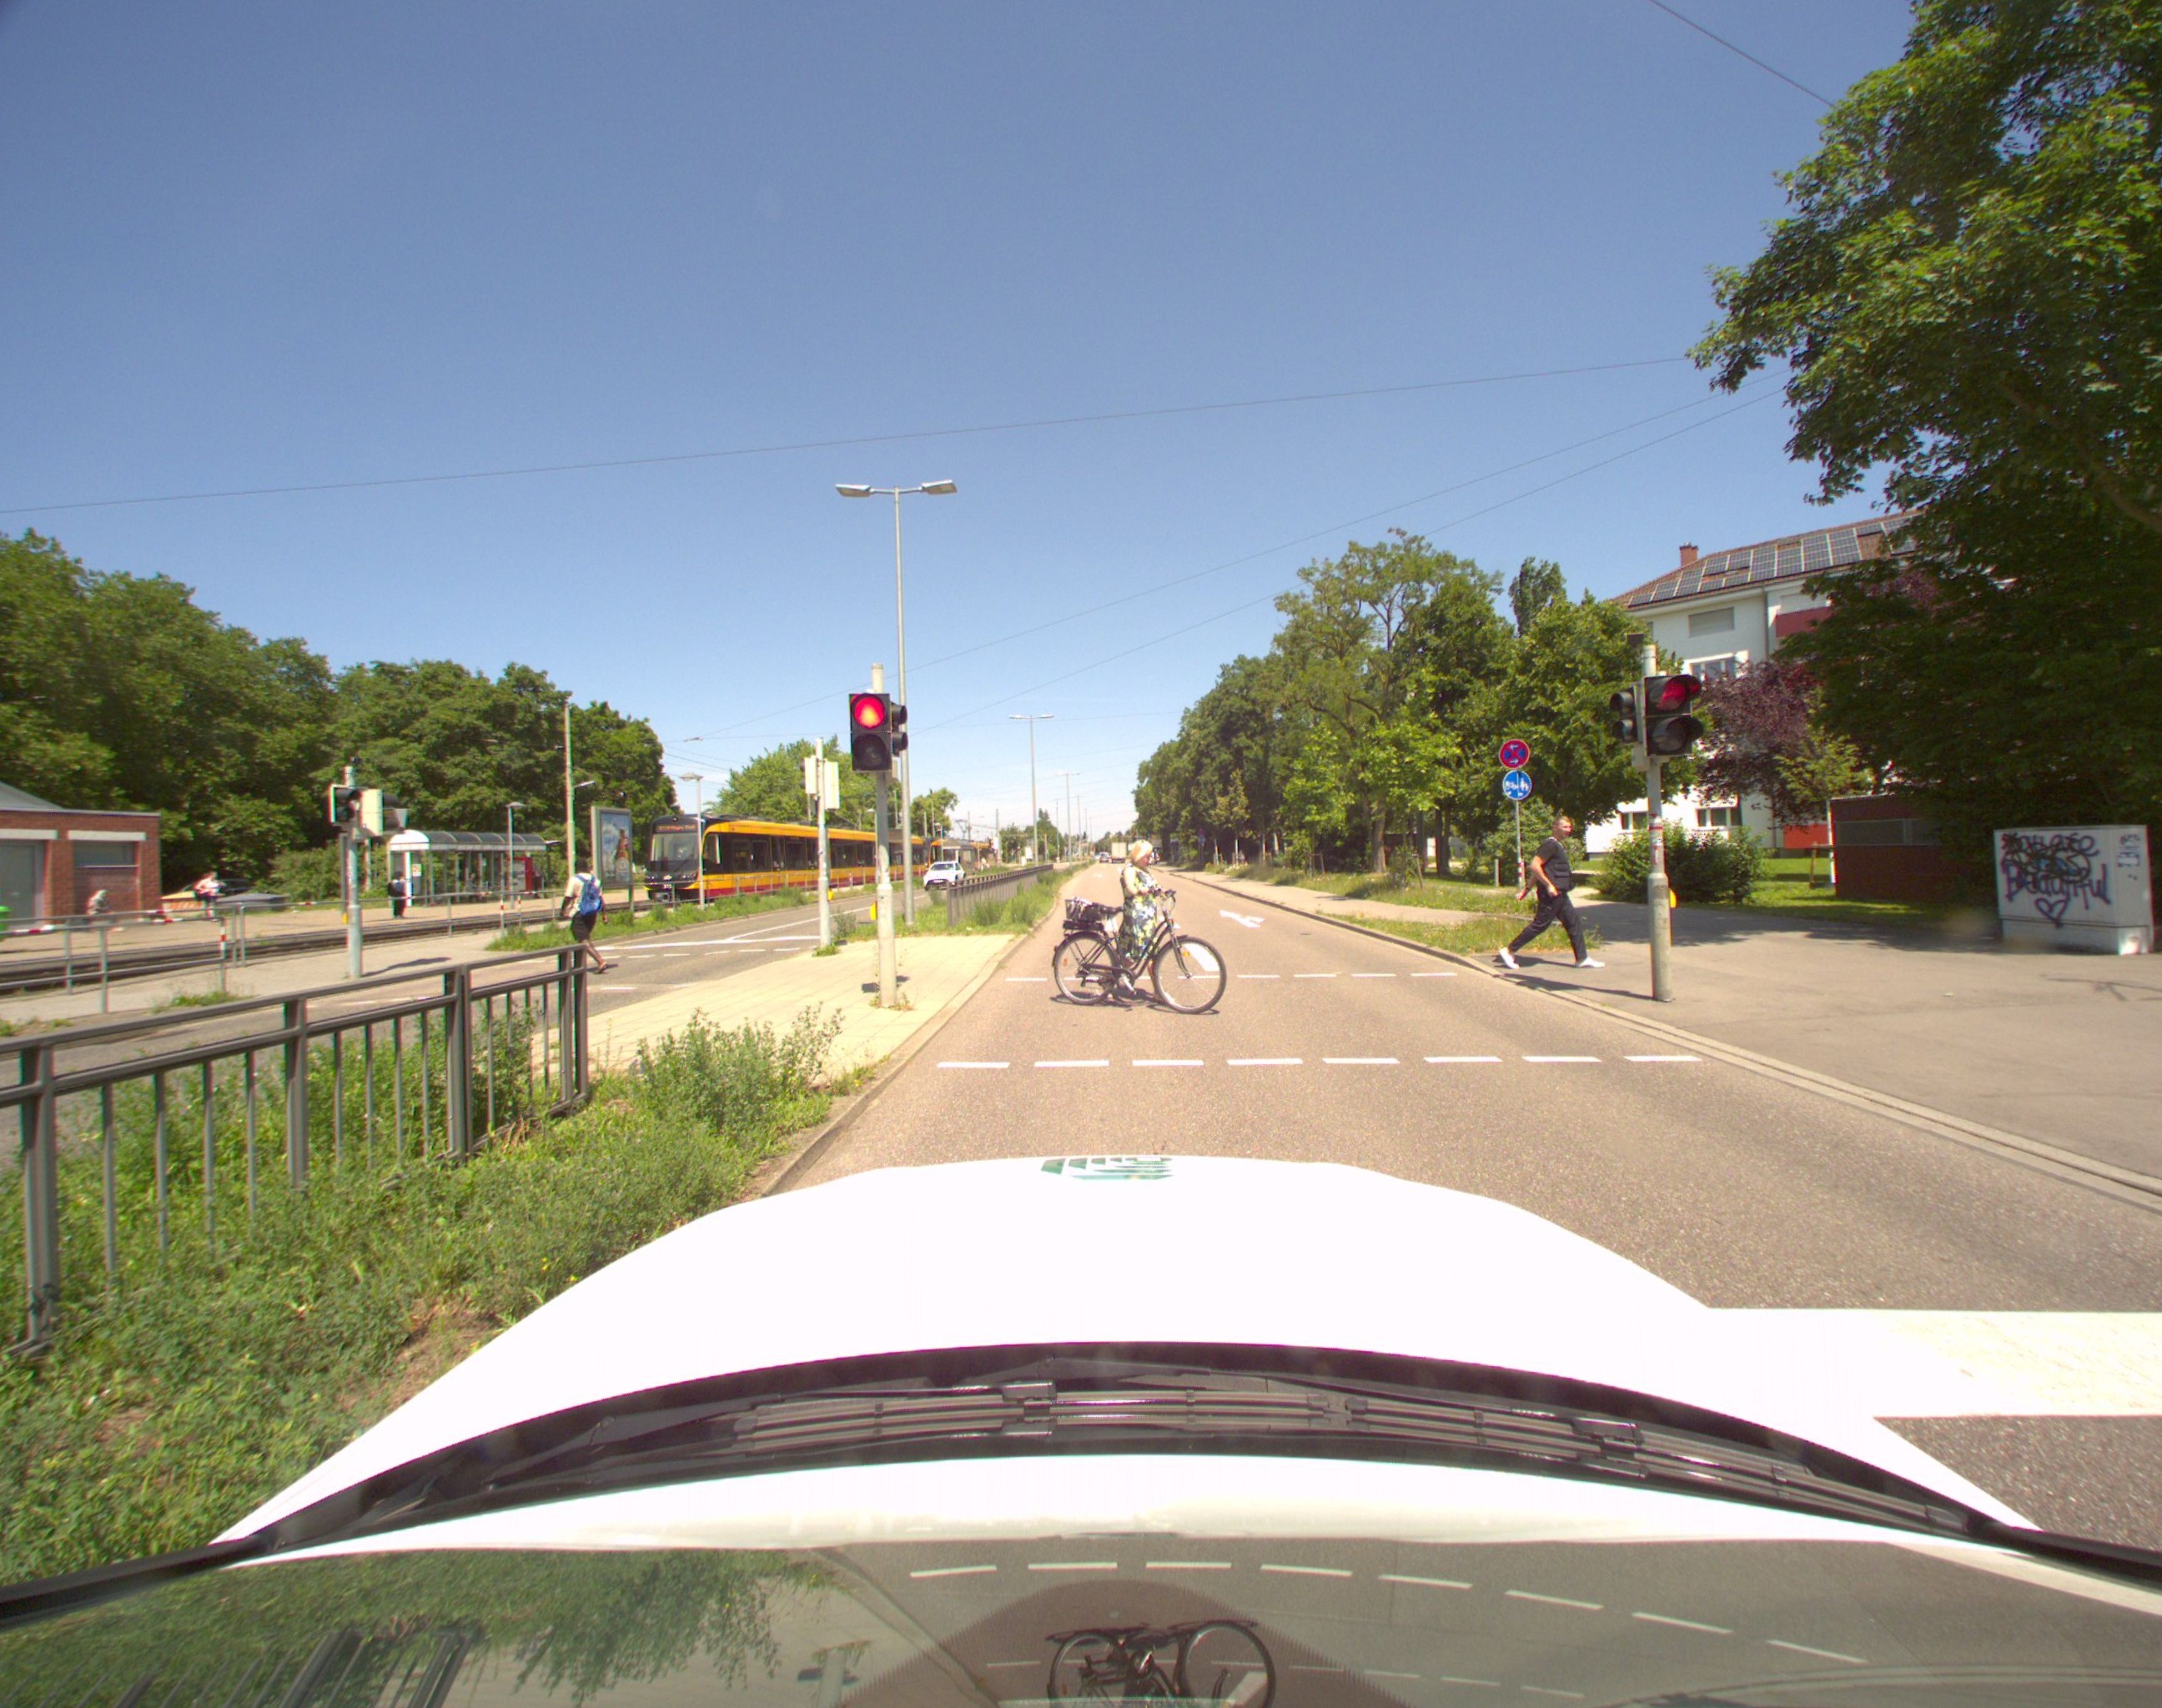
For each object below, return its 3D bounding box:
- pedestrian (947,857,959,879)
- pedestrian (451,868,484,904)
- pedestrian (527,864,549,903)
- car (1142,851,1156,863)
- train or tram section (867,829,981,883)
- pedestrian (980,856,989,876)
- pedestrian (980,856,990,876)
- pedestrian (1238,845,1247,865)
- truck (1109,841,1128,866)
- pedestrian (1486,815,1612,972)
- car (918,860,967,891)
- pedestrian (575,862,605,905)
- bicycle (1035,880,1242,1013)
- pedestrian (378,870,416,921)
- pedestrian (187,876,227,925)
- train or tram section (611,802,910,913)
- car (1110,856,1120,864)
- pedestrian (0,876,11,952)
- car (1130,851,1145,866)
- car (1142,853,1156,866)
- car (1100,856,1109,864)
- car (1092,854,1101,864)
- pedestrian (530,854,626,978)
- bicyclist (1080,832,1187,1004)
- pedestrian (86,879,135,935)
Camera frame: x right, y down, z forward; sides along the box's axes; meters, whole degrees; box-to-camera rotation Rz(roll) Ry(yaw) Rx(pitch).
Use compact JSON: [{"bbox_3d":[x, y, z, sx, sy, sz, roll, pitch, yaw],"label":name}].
[{"bbox_3d":[-10.980,1.194,69.736,0.783,1.868,0.818,-2,0,1],"label":"pedestrian"},{"bbox_3d":[-26.285,1.374,34.904,0.836,1.511,0.723,-2,0,12],"label":"pedestrian"},{"bbox_3d":[-25.892,1.387,38.830,0.725,1.800,0.835,-1,0,-41],"label":"pedestrian"},{"bbox_3d":[9.909,0.444,118.768,1.773,1.668,4.002,-2,0,2],"label":"car"},{"bbox_3d":[-13.249,0.156,74.755,2.920,3.789,33.100,-2,0,2],"label":"train or tram section"},{"bbox_3d":[-10.131,1.243,85.373,0.812,2.013,0.939,-2,0,1],"label":"pedestrian"},{"bbox_3d":[-9.910,1.231,84.073,0.812,2.013,0.939,-2,0,1],"label":"pedestrian"},{"bbox_3d":[12.227,0.083,61.827,0.600,1.438,0.557,-2,0,8],"label":"pedestrian"},{"bbox_3d":[6.778,-0.103,146.199,3.193,4.359,6.563,-2,0,2],"label":"truck"},{"bbox_3d":[5.665,0.478,9.869,1.173,1.778,0.845,-4,-2,32],"label":"pedestrian"},{"bbox_3d":[-7.519,1.143,44.552,1.838,1.494,3.793,-2,0,2],"label":"car"},{"bbox_3d":[-21.218,1.251,35.191,0.715,1.777,0.843,3,2,1],"label":"pedestrian"},{"bbox_3d":[0.562,0.867,8.023,1.941,1.161,0.544,0,2,19],"label":"bicycle"},{"bbox_3d":[-21.544,1.293,25.670,0.635,1.555,0.691,-2,0,-11],"label":"pedestrian"},{"bbox_3d":[-26.863,1.431,25.035,0.634,1.456,0.585,-2,0,16],"label":"pedestrian"},{"bbox_3d":[-14.275,0.119,43.226,2.946,3.749,30.044,-2,0,2],"label":"train or tram section"},{"bbox_3d":[6.490,1.122,153.695,1.804,1.464,4.002,-2,0,2],"label":"car"},{"bbox_3d":[-23.099,1.274,16.937,0.674,1.590,0.802,-1,0,-21],"label":"pedestrian"},{"bbox_3d":[7.303,0.549,105.700,1.773,1.903,4.002,-2,0,2],"label":"car"},{"bbox_3d":[9.387,0.703,112.427,1.773,1.668,4.002,-2,0,2],"label":"car"},{"bbox_3d":[4.533,1.162,157.421,1.804,1.464,4.002,-2,0,2],"label":"car"},{"bbox_3d":[3.330,1.071,175.338,1.986,2.013,4.002,-2,0,2],"label":"car"},{"bbox_3d":[-7.774,0.934,12.621,0.837,1.777,0.720,-5,2,1],"label":"pedestrian"},{"bbox_3d":[0.546,0.616,8.325,0.949,1.666,0.583,0,2,19],"label":"bicyclist"},{"bbox_3d":[-26.682,1.441,22.390,0.636,1.480,0.570,-2,0,1],"label":"pedestrian"}]
